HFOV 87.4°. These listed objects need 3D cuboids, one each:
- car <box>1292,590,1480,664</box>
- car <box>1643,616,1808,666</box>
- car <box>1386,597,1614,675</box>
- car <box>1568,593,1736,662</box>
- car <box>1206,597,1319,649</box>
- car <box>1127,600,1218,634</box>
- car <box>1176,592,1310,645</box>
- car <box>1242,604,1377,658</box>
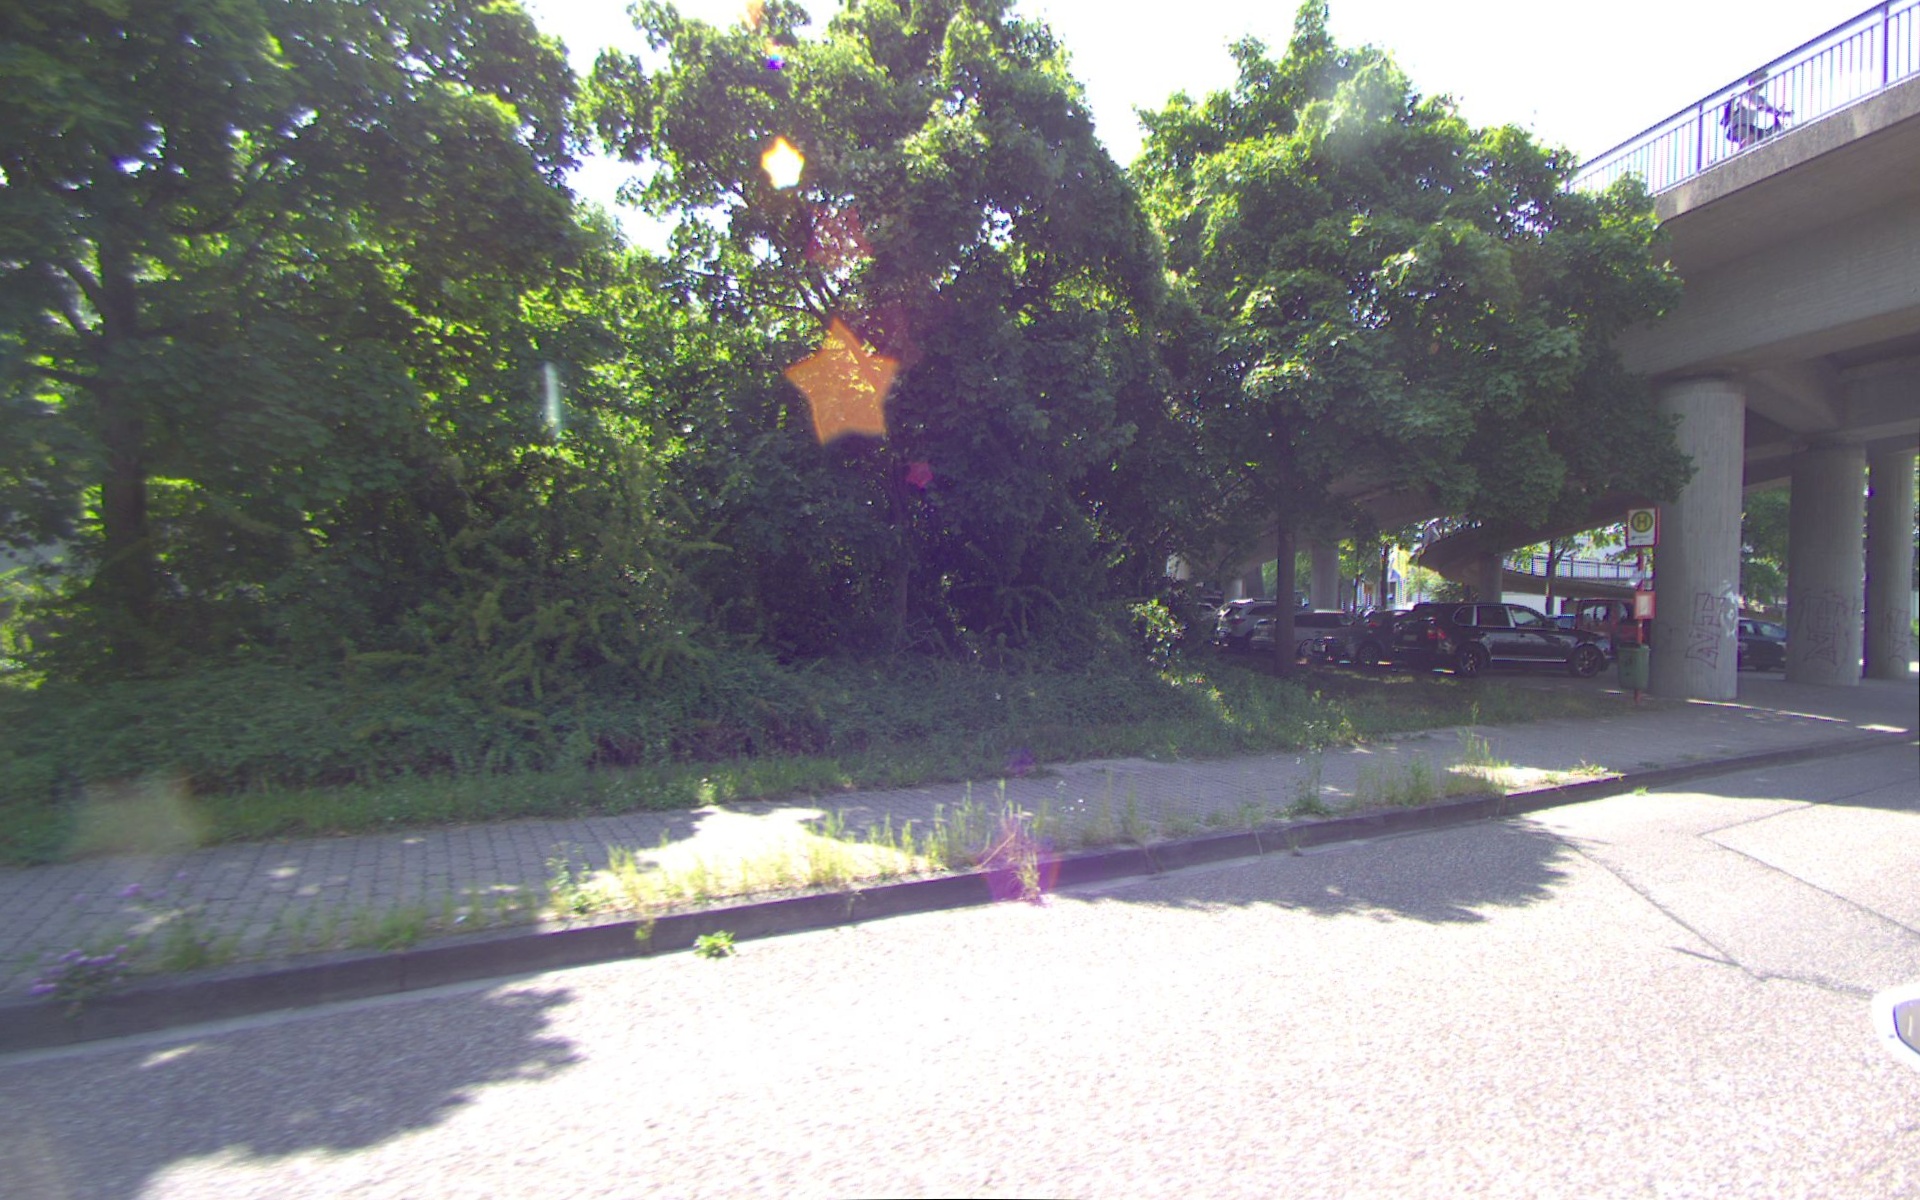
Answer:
[{"bbox_3d":[10.797,0.681,25.650,3.924,1.741,1.999,1,0,-4],"label":"car"},{"bbox_3d":[21.754,1.146,28.639,3.381,1.301,1.693,1,-1,2],"label":"car"},{"bbox_3d":[12.266,0.812,22.914,4.491,1.651,1.682,1,0,-9],"label":"car"},{"bbox_3d":[21.625,0.849,31.519,3.879,2.040,1.948,1,0,3],"label":"car"},{"bbox_3d":[9.534,0.721,31.732,3.033,1.569,1.553,1,0,-9],"label":"car"},{"bbox_3d":[9.868,0.785,46.836,3.943,1.464,1.711,1,0,4],"label":"car"},{"bbox_3d":[9.850,0.655,35.066,4.168,1.731,1.718,1,0,-9],"label":"car"},{"bbox_3d":[10.031,0.878,28.950,3.209,1.471,1.753,1,-1,-10],"label":"car"}]
